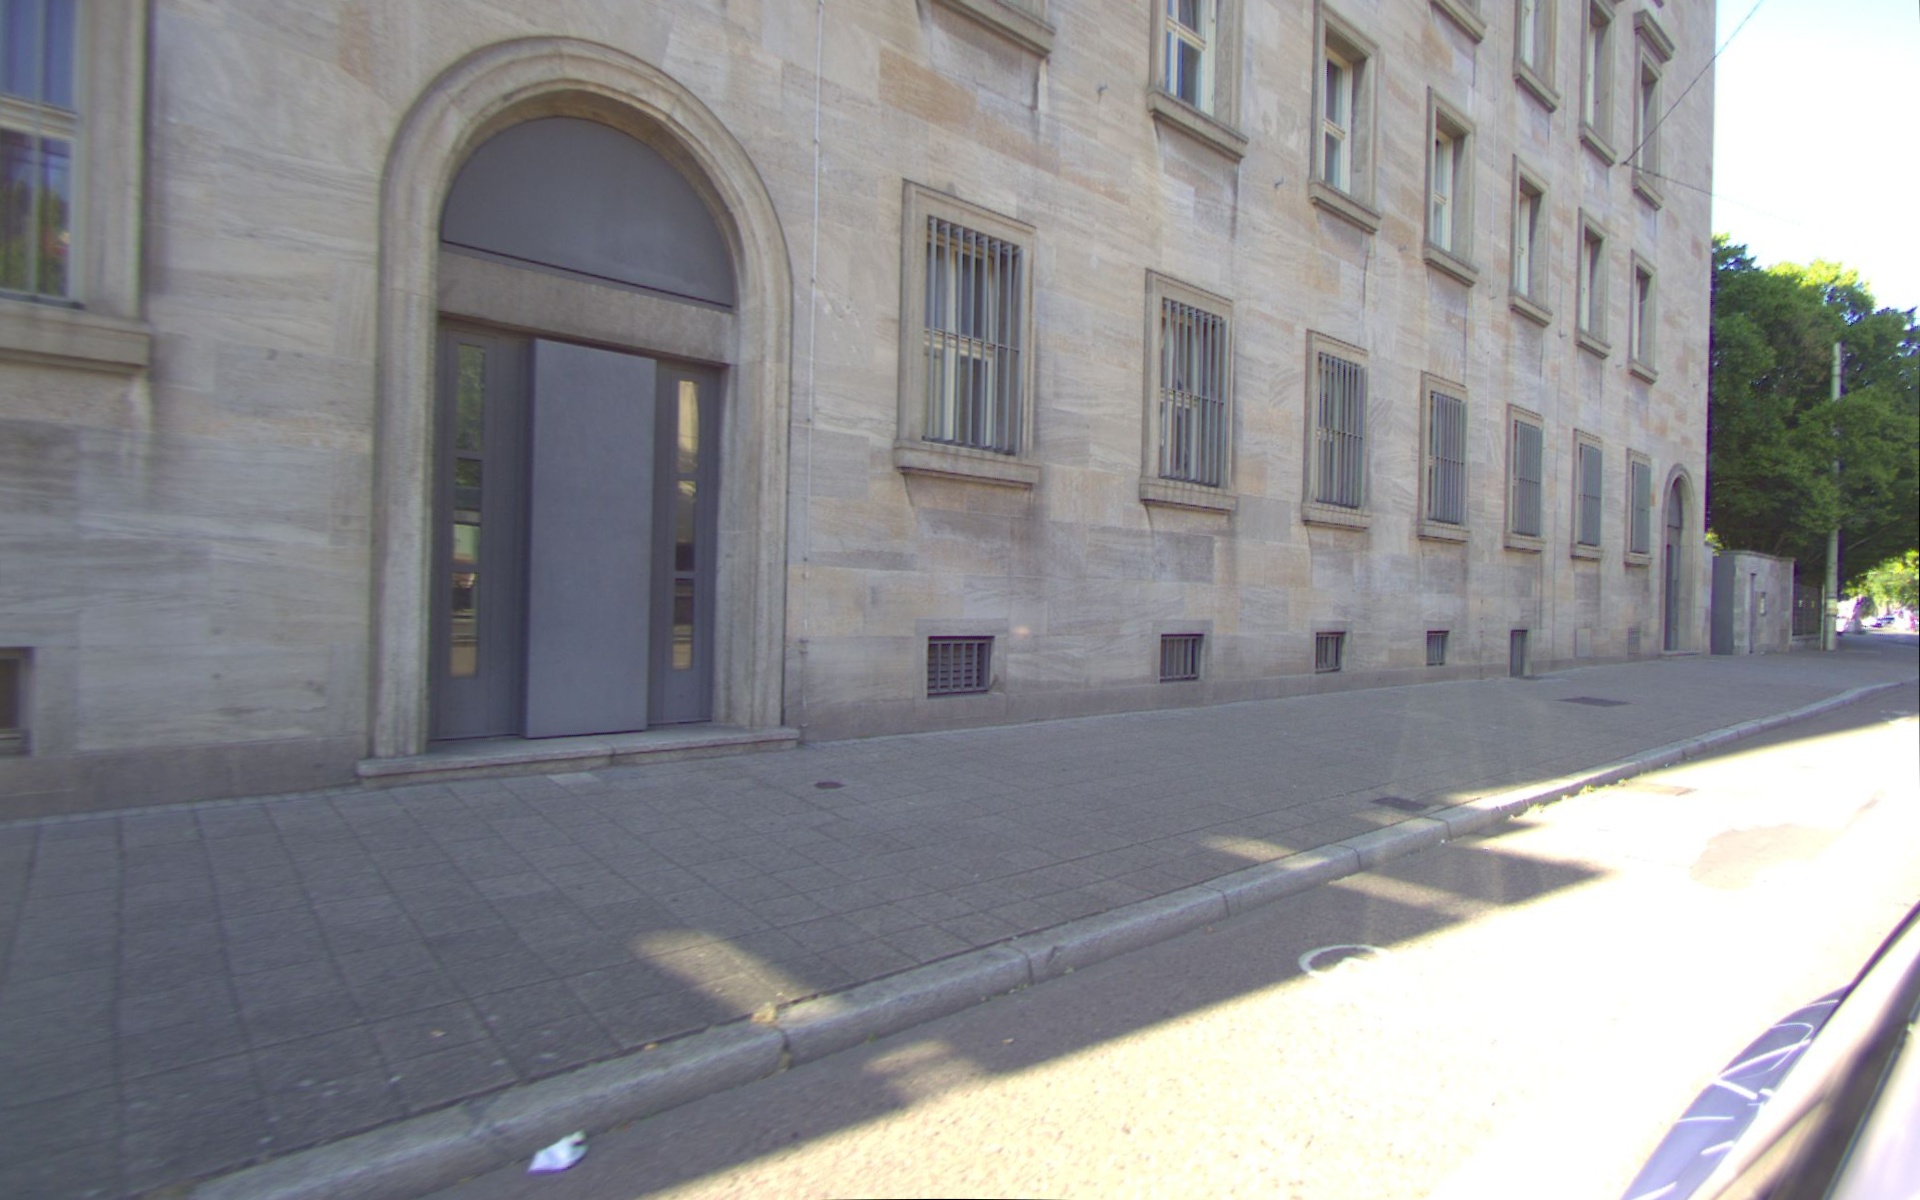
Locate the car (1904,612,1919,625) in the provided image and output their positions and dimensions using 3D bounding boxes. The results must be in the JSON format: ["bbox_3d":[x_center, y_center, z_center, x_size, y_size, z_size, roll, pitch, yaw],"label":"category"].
[{"bbox_3d":[127.492,2.400,133.708,3.742,1.614,1.654,-2,-1,31],"label":"car"}]

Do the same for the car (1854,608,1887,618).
[{"bbox_3d":[144.379,2.064,160.532,3.592,1.520,1.487,-2,-1,31],"label":"car"}]

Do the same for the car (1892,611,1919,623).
[{"bbox_3d":[137.456,2.460,146.283,3.742,1.614,1.654,-2,-1,31],"label":"car"}]

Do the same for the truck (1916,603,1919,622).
[{"bbox_3d":[123.770,1.559,128.105,3.749,2.454,1.651,-2,-1,36],"label":"truck"}]

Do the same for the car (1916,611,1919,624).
[{"bbox_3d":[125.702,2.218,130.060,3.742,1.614,1.654,-2,-1,31],"label":"car"}]
